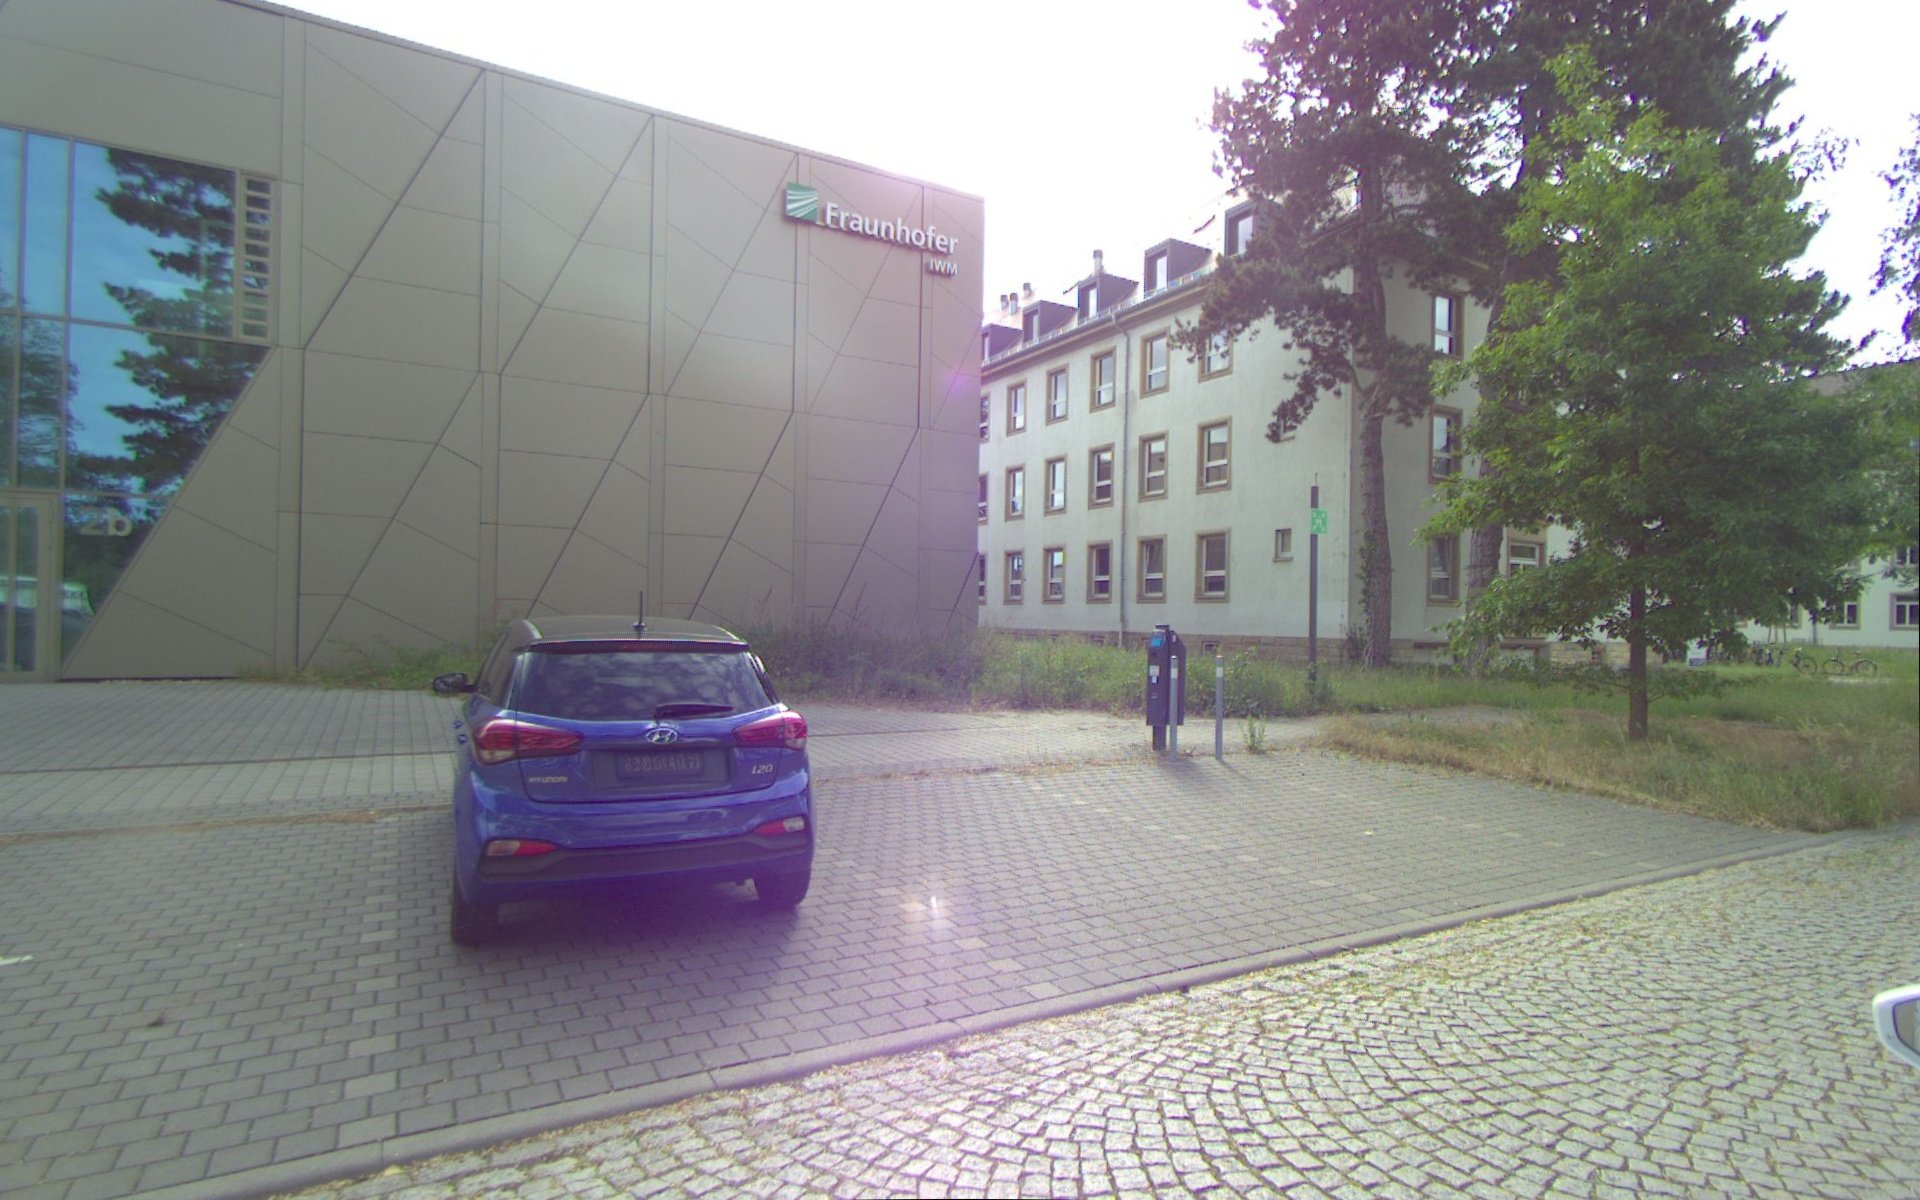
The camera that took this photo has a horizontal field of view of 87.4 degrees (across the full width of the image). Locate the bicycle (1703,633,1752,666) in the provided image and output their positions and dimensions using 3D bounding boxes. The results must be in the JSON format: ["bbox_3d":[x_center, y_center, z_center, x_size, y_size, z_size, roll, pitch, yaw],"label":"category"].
[{"bbox_3d":[33.550,2.163,43.911,2.679,1.404,0.732,2,-1,-30],"label":"bicycle"}]

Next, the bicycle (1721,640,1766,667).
[{"bbox_3d":[33.604,2.297,43.082,2.246,1.090,0.732,2,-1,-30],"label":"bicycle"}]

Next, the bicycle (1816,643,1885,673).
[{"bbox_3d":[34.575,2.230,39.008,0.821,1.090,1.849,1,-1,-27],"label":"bicycle"}]

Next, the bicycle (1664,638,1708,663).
[{"bbox_3d":[32.524,2.270,44.981,2.246,1.090,0.732,2,-1,-30],"label":"bicycle"}]

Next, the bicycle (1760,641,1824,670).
[{"bbox_3d":[33.633,2.233,40.637,0.729,1.090,1.849,1,-1,-27],"label":"bicycle"}]

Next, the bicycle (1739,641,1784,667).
[{"bbox_3d":[33.981,2.288,42.562,2.246,1.090,0.732,2,-1,-30],"label":"bicycle"}]

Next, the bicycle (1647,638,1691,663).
[{"bbox_3d":[32.232,2.274,45.656,2.246,1.090,0.732,2,-1,-30],"label":"bicycle"}]

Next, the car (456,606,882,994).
[{"bbox_3d":[-2.044,0.843,6.172,1.828,1.498,3.752,2,0,-27],"label":"car"}]

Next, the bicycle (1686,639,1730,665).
[{"bbox_3d":[33.255,2.305,44.664,2.246,1.090,0.732,2,-1,-30],"label":"bicycle"}]
